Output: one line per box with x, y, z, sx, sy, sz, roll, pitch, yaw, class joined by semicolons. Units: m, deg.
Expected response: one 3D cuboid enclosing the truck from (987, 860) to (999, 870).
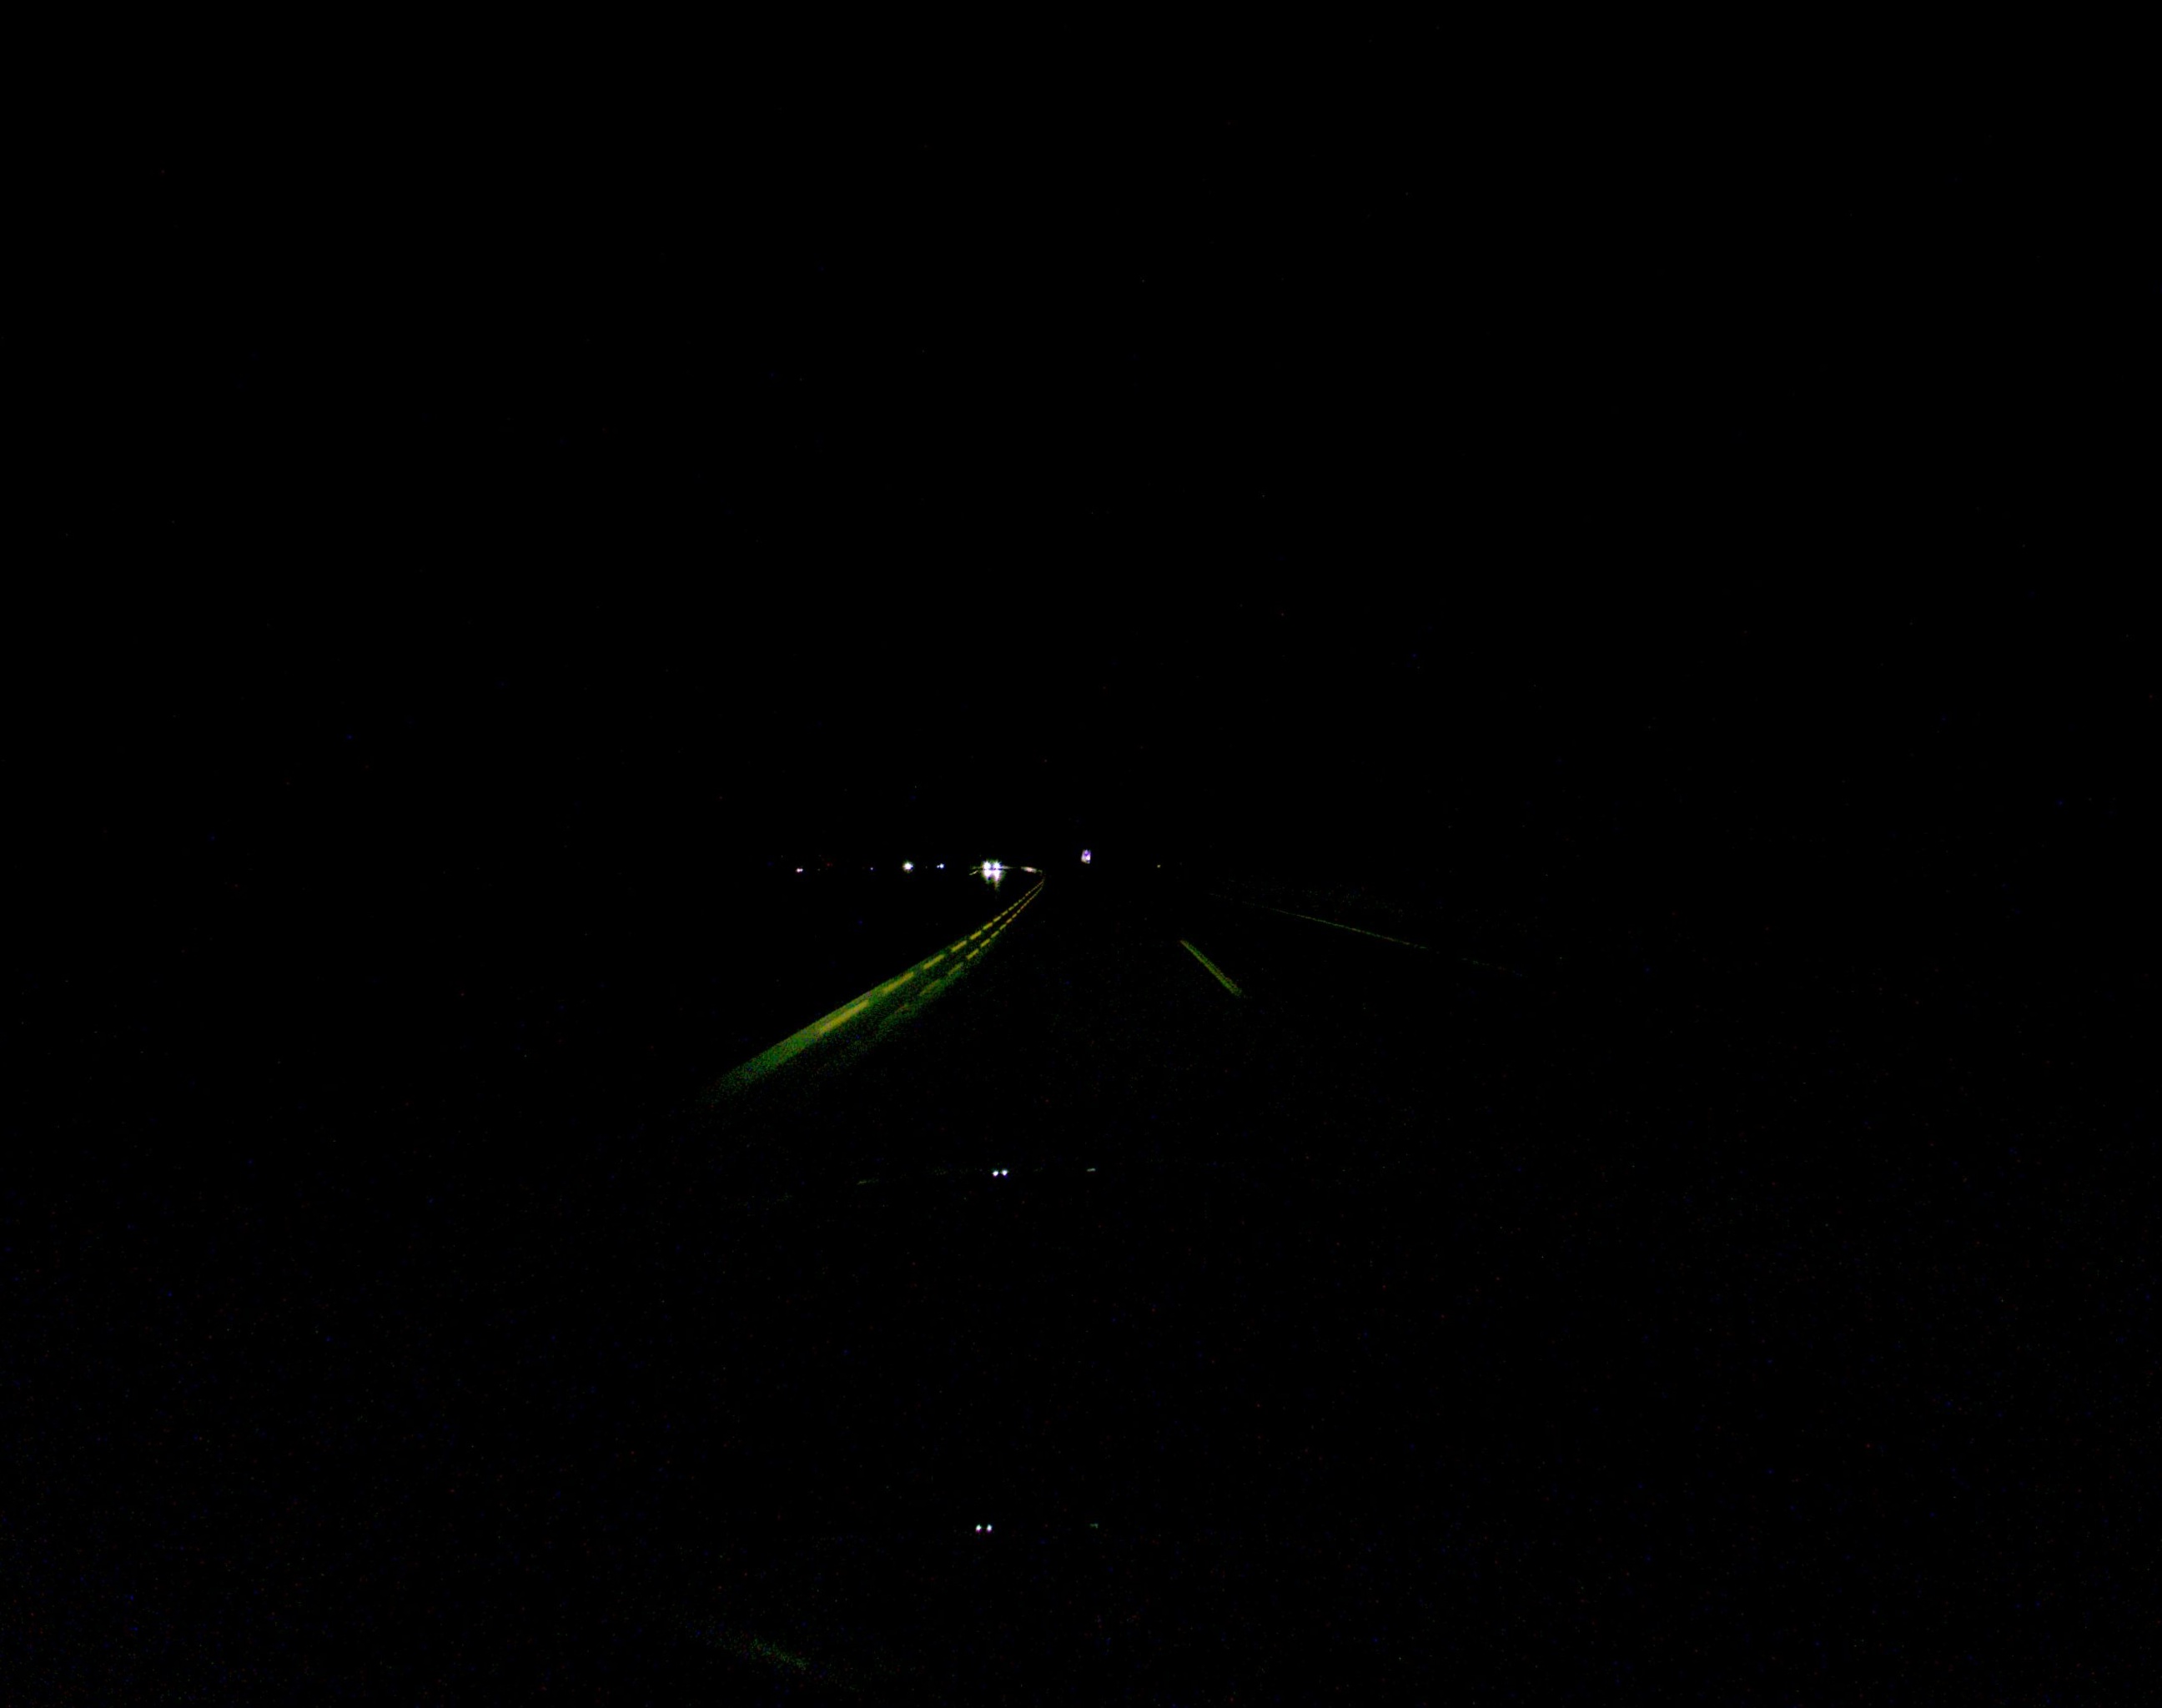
-13.145;1.631;121.930;1.682;1.470;4.141;0;-1;-8;truck
